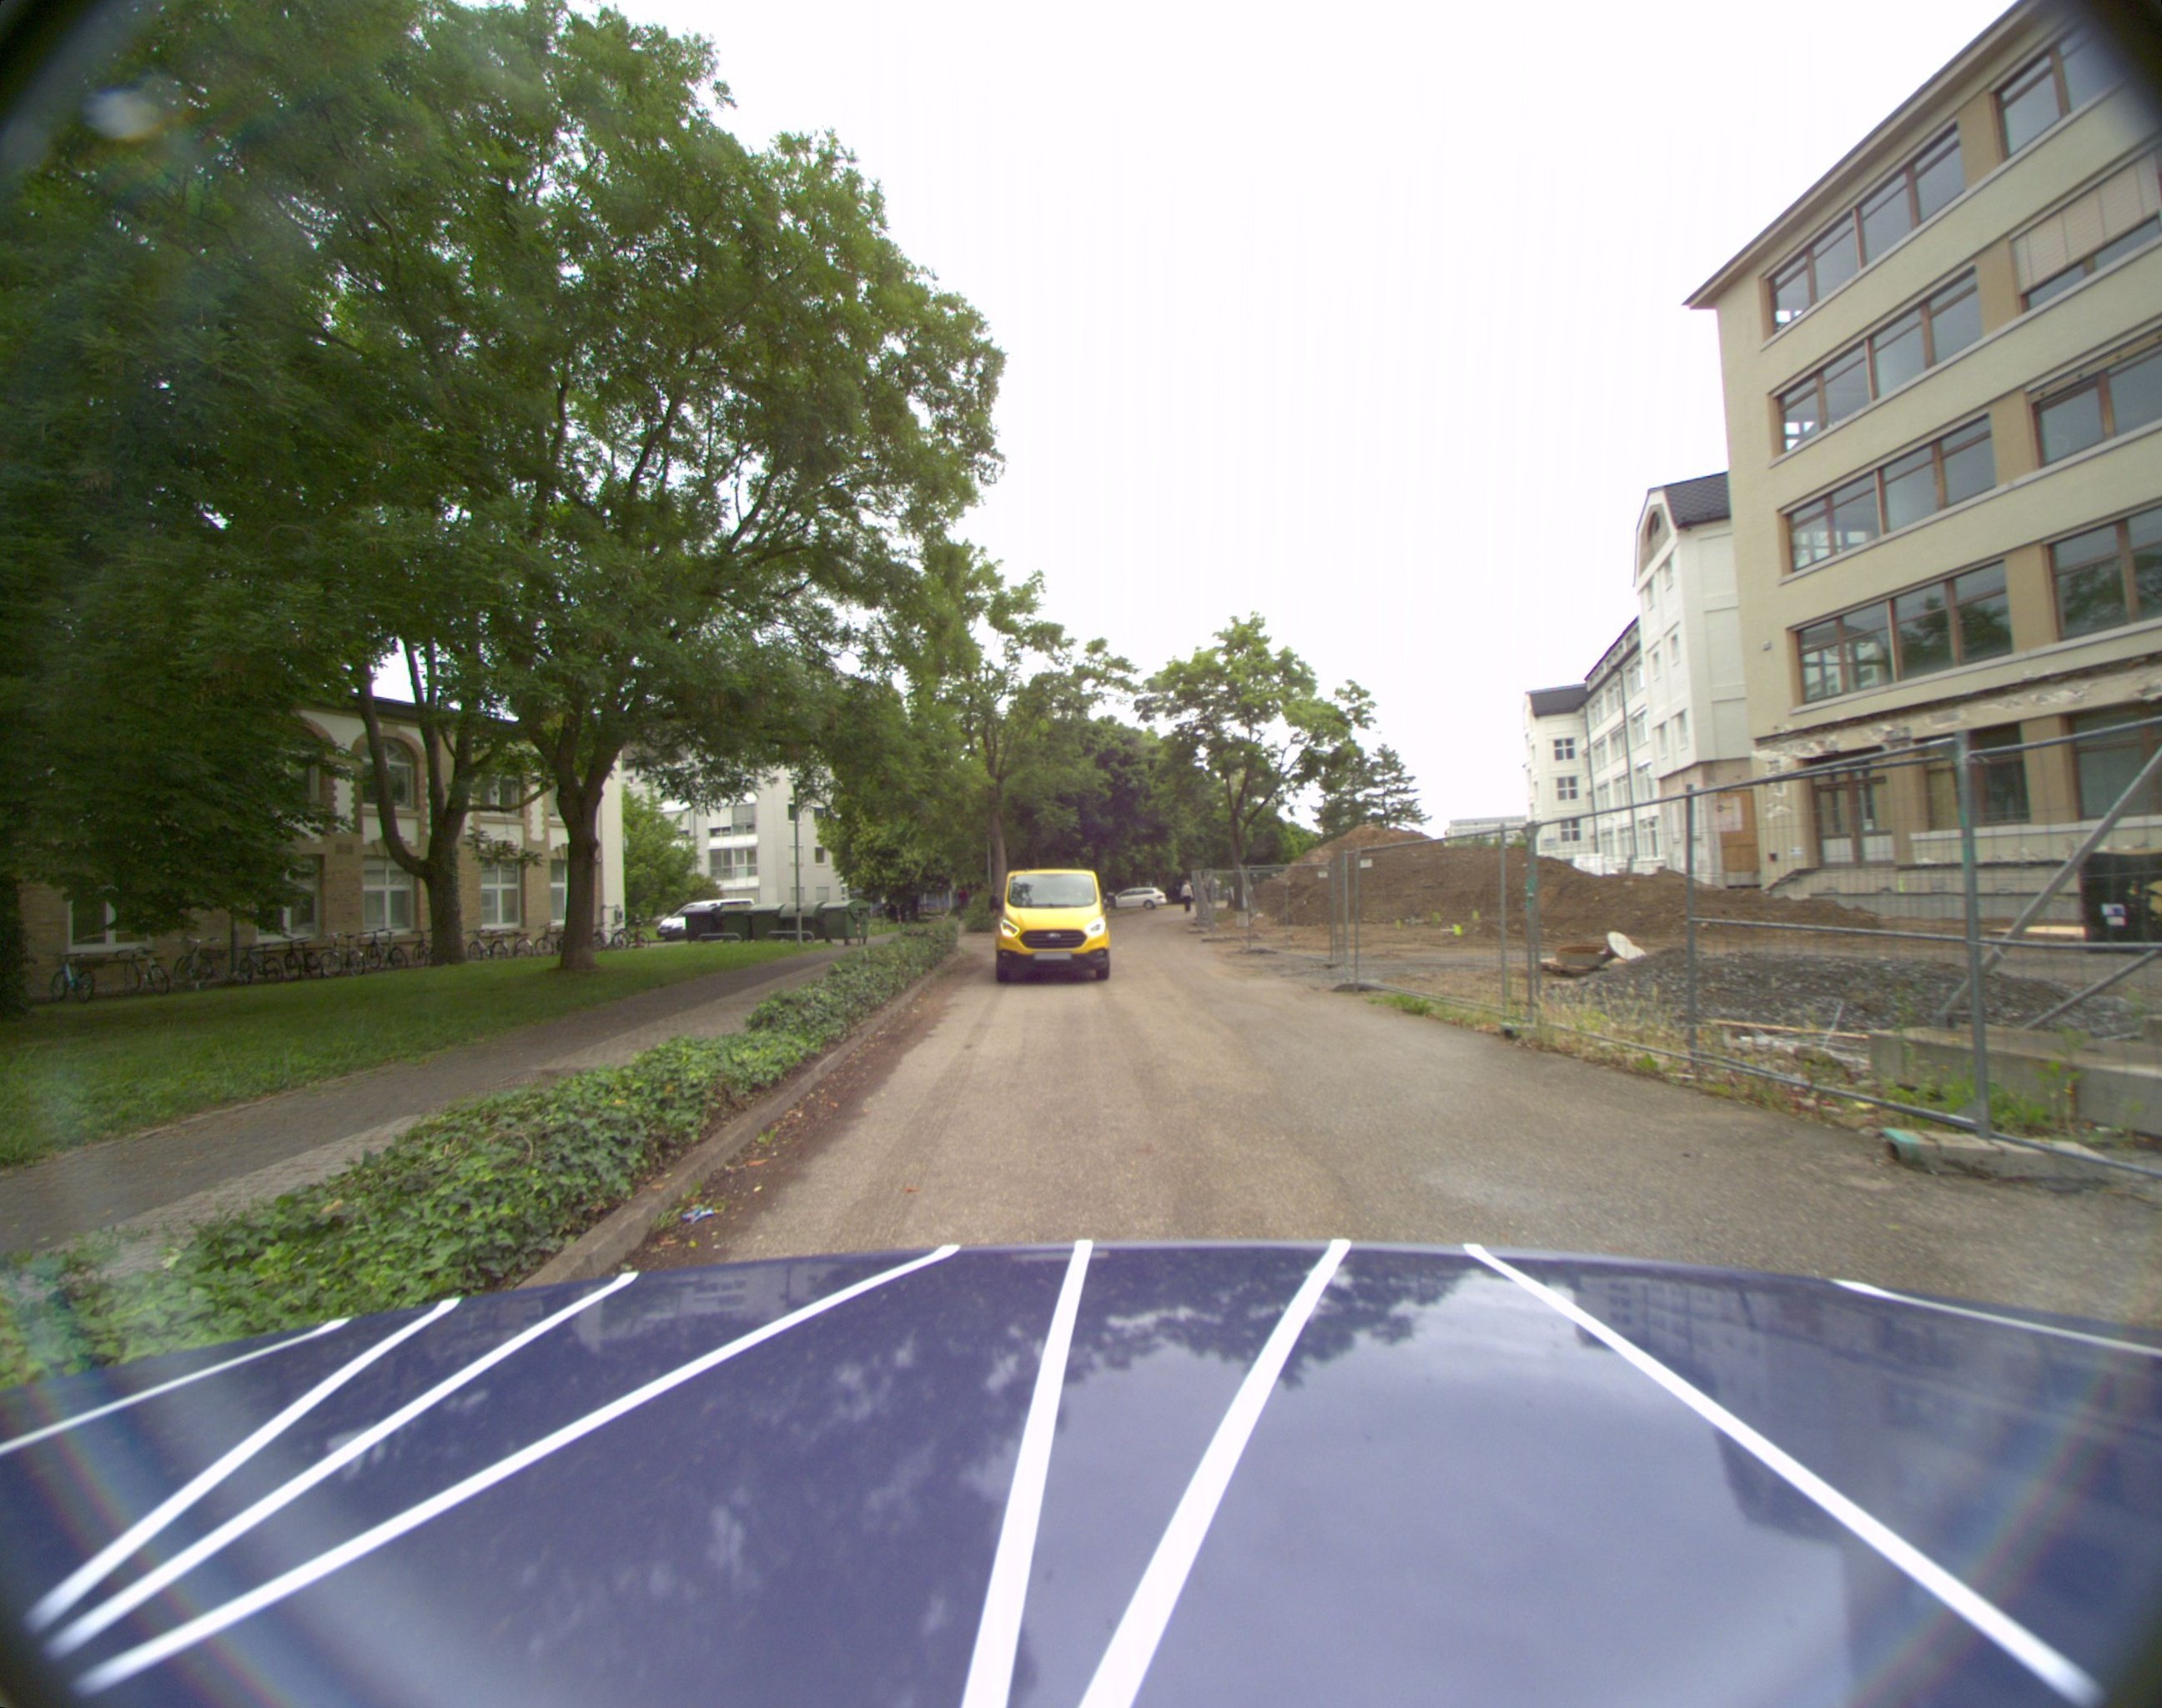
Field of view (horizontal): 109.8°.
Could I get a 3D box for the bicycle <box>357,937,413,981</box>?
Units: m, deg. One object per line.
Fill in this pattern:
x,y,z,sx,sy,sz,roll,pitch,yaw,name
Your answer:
-18.685,2.811,20.387,1.740,1.107,0.461,-4,-2,25,bicycle

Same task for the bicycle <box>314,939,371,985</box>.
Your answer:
-19.011,2.768,19.562,1.740,1.107,0.461,-4,-2,25,bicycle

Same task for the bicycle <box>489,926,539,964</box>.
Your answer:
-17.470,2.792,23.401,1.740,1.107,0.461,-4,-2,25,bicycle

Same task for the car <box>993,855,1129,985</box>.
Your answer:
-0.444,1.141,14.237,2.124,2.001,4.000,-2,-2,-4,car

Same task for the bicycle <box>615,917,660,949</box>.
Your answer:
-15.848,2.825,27.134,1.741,1.107,0.461,-4,-2,25,bicycle

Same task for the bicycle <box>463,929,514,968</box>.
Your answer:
-17.743,2.836,22.751,1.740,1.107,0.461,-4,-2,25,bicycle

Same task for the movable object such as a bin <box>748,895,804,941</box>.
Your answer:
-10.216,2.125,25.481,1.292,1.441,1.110,-3,-2,17,movable object such as a bin

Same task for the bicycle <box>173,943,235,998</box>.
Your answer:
-20.017,2.632,17.341,1.740,1.108,0.461,0,-1,25,bicycle

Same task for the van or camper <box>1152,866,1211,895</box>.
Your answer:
8.518,2.272,64.355,4.491,2.244,2.004,-3,-2,24,van or camper

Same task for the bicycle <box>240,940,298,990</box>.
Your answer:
-19.611,2.650,18.344,1.740,1.108,0.461,-2,-2,25,bicycle

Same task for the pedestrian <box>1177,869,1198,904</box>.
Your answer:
5.439,1.659,38.906,0.752,1.770,0.662,-2,-2,-27,pedestrian

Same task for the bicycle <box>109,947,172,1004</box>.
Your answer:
-20.384,2.615,16.466,1.740,1.108,0.461,-1,-1,25,bicycle

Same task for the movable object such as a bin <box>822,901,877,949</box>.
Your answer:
-7.414,2.259,24.302,1.272,1.425,1.074,-4,-2,33,movable object such as a bin

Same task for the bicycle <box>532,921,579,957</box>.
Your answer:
-17.004,2.767,24.578,1.740,1.107,0.461,-4,-2,27,bicycle

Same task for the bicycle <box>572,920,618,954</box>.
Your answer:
-16.504,2.829,25.801,1.740,1.107,0.461,-4,-2,25,bicycle

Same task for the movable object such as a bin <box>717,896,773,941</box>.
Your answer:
-11.518,2.194,26.067,1.324,1.441,1.110,-3,-2,17,movable object such as a bin

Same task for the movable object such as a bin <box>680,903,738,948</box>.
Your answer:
-12.988,2.487,26.557,1.360,1.441,1.110,-3,-2,18,movable object such as a bin

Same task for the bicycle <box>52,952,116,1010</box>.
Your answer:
-20.682,2.616,15.754,1.740,1.107,0.461,-4,-2,25,bicycle

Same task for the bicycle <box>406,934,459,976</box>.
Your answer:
-18.204,2.823,21.319,1.740,1.107,0.461,-3,-2,25,bicycle

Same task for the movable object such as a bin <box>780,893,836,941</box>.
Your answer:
-8.878,2.048,24.730,1.283,1.441,1.111,-4,-2,29,movable object such as a bin

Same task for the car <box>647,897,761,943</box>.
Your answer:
-18.417,3.201,37.387,1.897,1.861,4.782,-6,-3,25,car

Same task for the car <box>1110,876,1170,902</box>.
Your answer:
4.099,2.392,52.394,3.880,1.565,1.754,-3,-2,12,car

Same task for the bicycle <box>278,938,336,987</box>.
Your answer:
-19.333,2.688,18.966,1.740,1.108,0.461,-1,-1,25,bicycle

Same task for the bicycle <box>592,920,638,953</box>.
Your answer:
-16.205,2.869,26.419,1.740,1.107,0.461,-4,-2,25,bicycle

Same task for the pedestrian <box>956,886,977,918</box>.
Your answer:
-7.486,3.114,49.644,0.793,2.051,1.203,-3,-2,19,pedestrian
